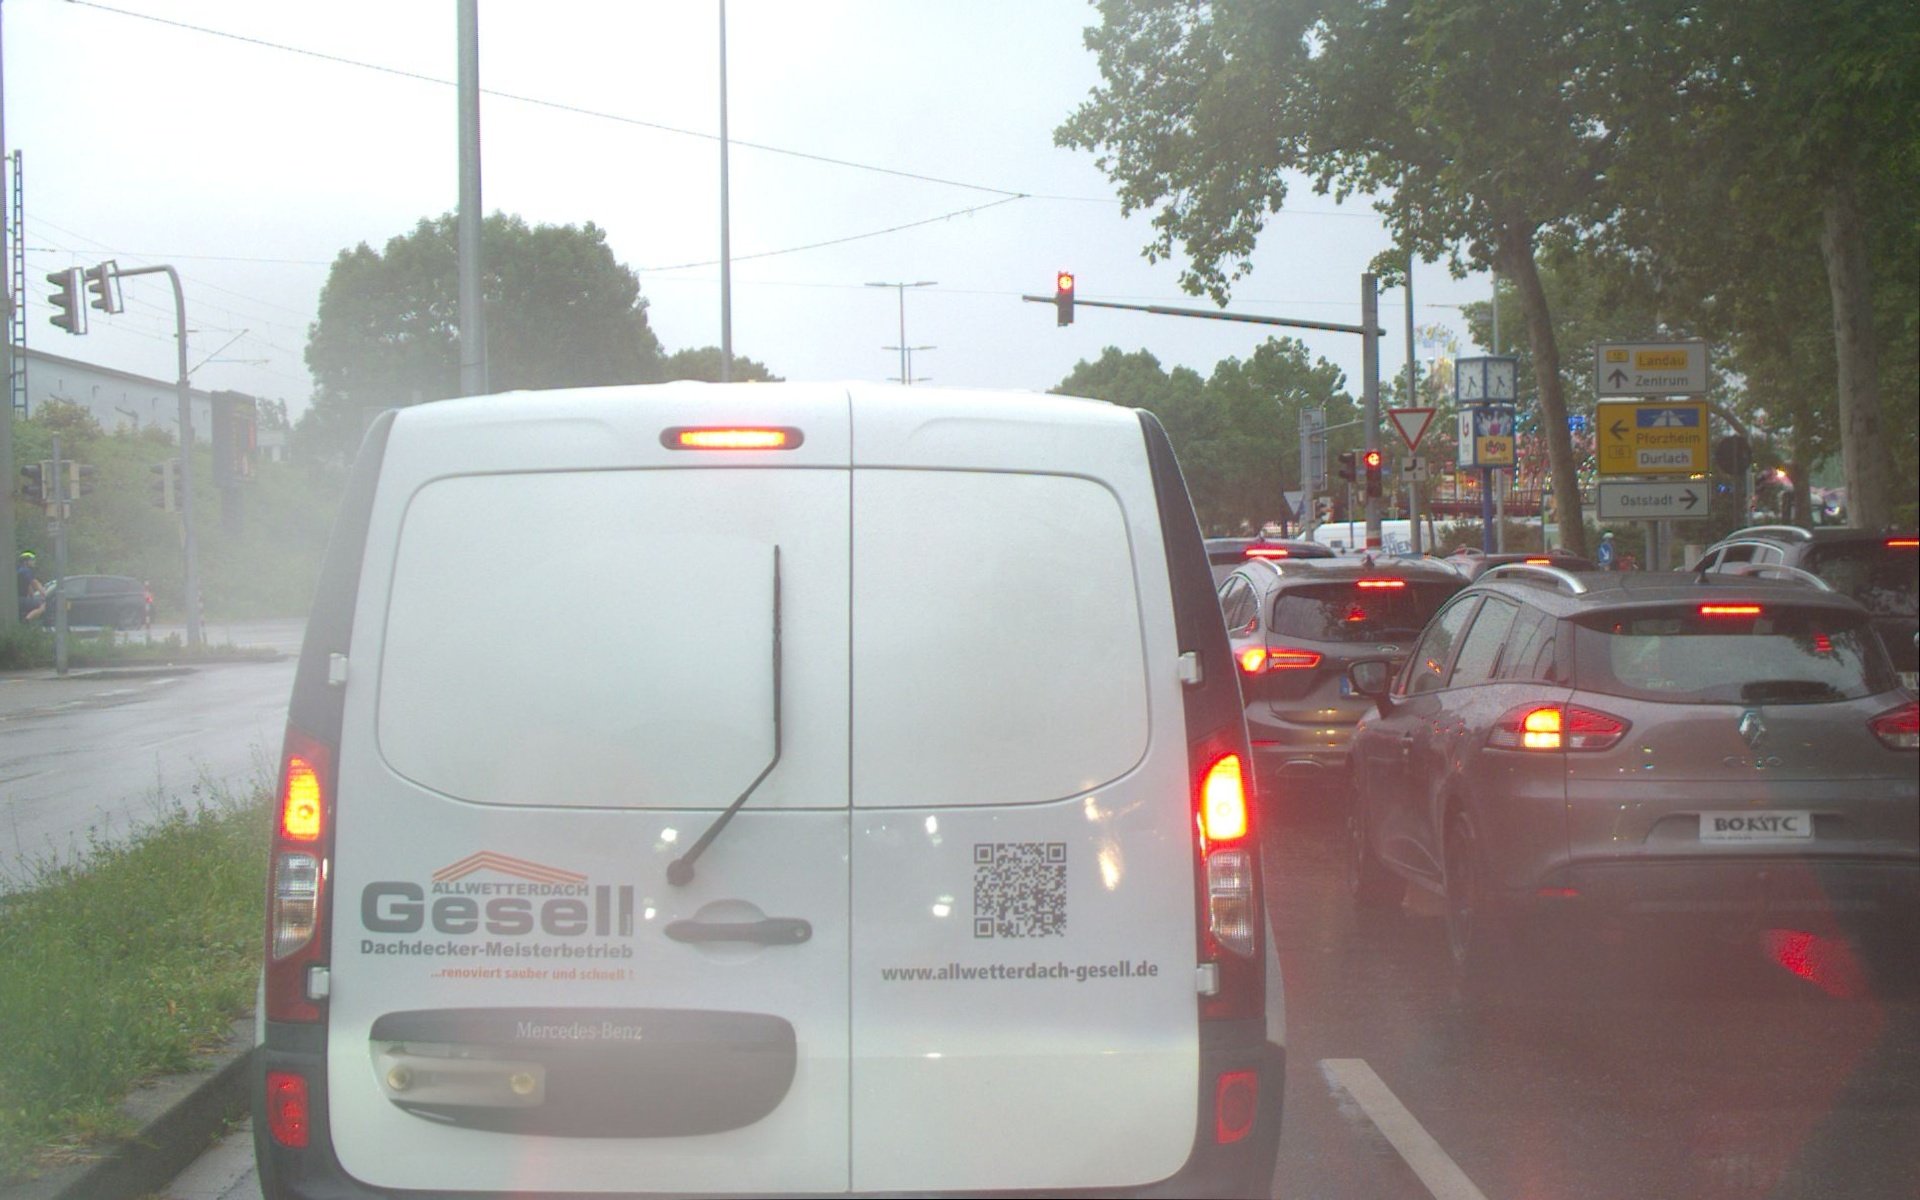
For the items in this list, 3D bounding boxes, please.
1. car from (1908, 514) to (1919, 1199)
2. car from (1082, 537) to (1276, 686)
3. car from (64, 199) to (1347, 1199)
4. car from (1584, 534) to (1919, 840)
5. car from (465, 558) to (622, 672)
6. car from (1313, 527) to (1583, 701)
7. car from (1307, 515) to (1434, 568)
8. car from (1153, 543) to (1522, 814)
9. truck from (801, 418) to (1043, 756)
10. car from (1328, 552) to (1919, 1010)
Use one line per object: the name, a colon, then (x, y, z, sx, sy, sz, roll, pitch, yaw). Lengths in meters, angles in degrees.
car: (2.964, 0.643, 5.369, 1.708, 1.544, 4.001, 0, 2, -2)
car: (2.227, 0.076, 35.836, 1.711, 1.440, 4.000, 0, 1, -1)
car: (-0.472, 0.367, 7.368, 1.993, 2.007, 4.000, 0, 0, -2)
car: (5.286, 0.478, 21.496, 1.856, 1.720, 4.191, 0, 0, -2)
car: (-6.120, 0.193, 50.886, 1.826, 1.563, 4.000, -2, 1, 0)
car: (4.538, 0.107, 32.539, 1.839, 1.531, 4.112, 1, 0, -2)
car: (13.945, -1.973, 116.673, 3.991, 1.707, 1.771, 0, -1, 20)
car: (2.155, 0.389, 20.584, 1.711, 1.440, 4.000, 0, 1, -1)
truck: (-0.356, -0.113, 27.034, 1.756, 2.458, 4.000, 0, 0, -2)
car: (2.498, 0.554, 13.074, 1.711, 1.440, 4.000, 0, 1, -1)
